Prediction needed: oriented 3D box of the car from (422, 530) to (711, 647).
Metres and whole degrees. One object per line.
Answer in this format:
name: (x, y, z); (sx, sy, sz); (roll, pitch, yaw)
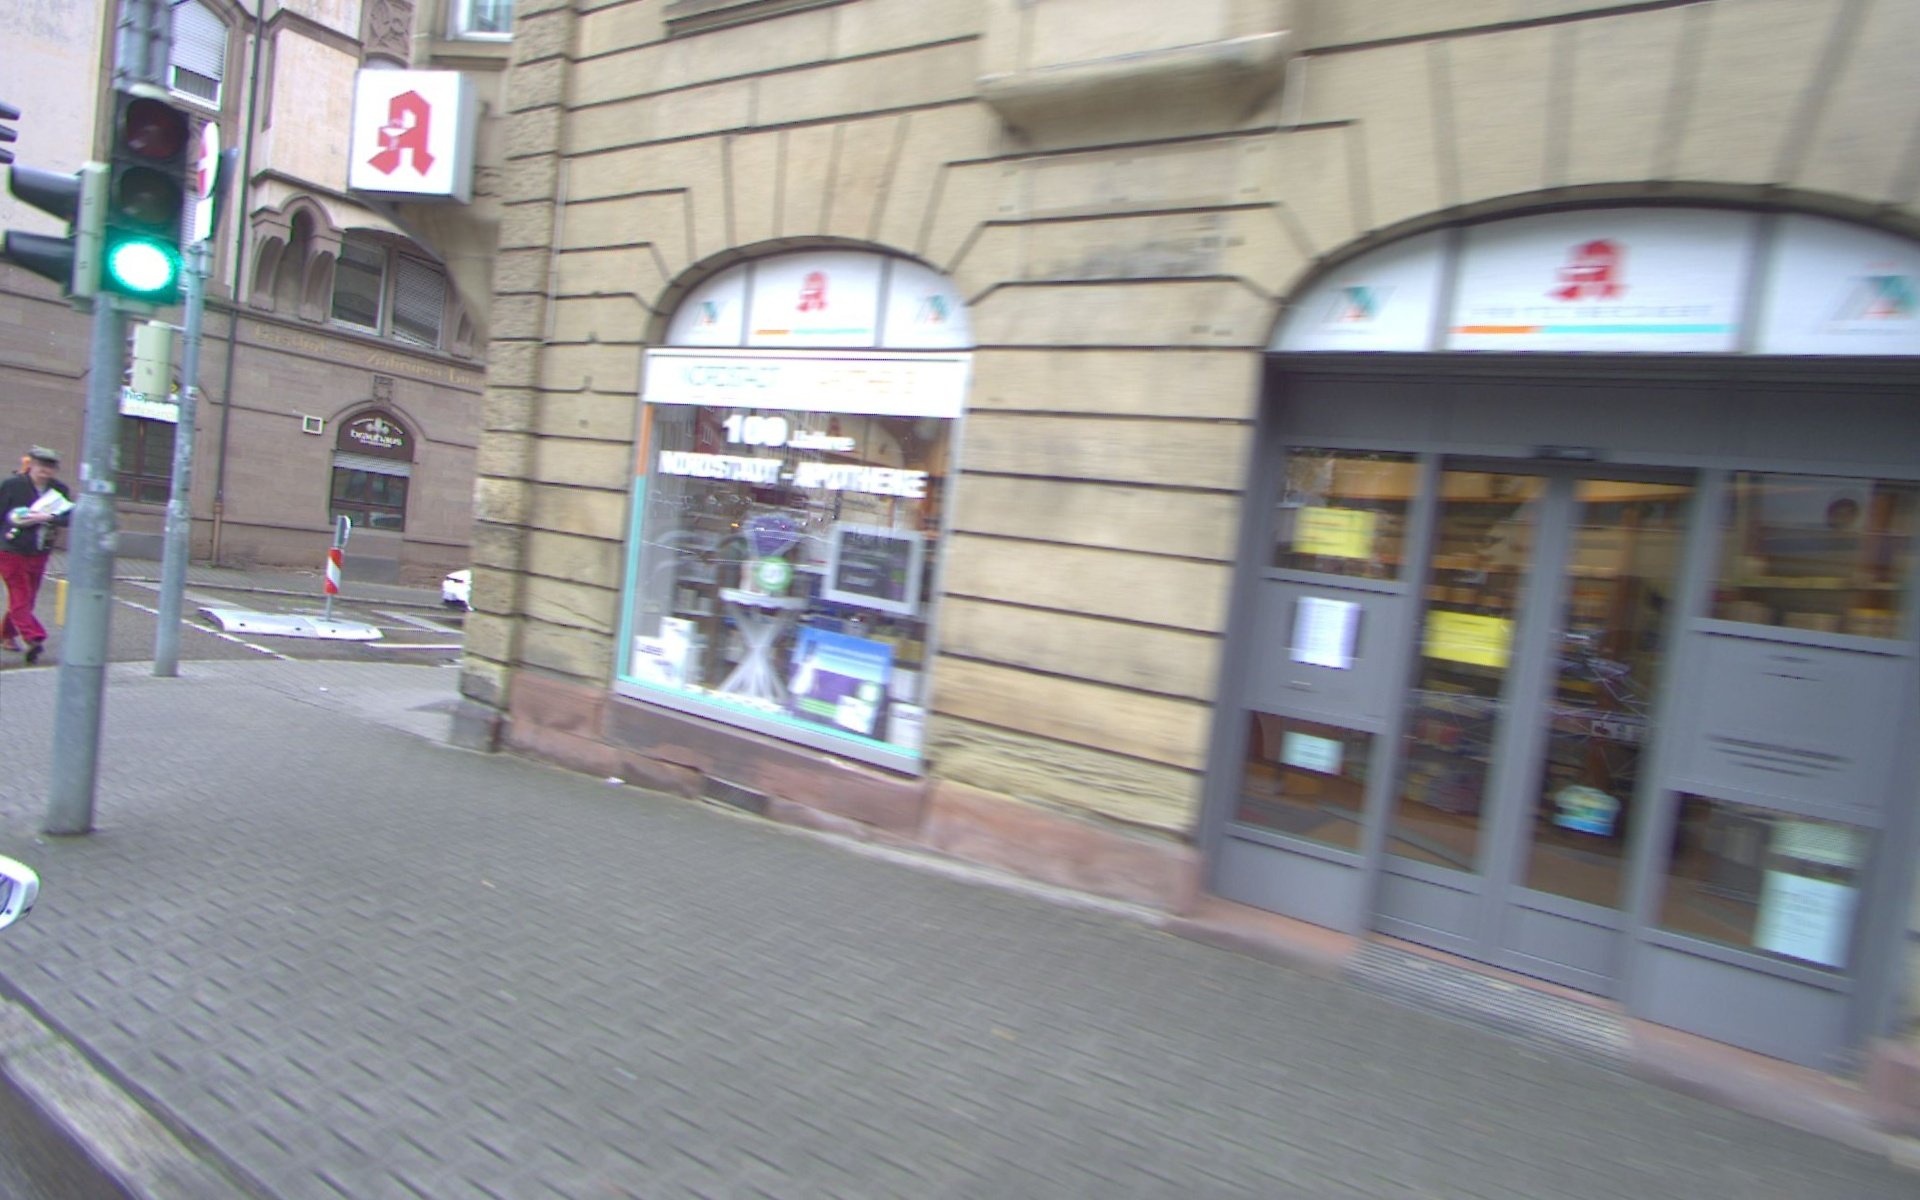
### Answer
car: (-7.160, -0.160, 18.671); (1.818, 1.528, 4.549); (7, -1, 45)

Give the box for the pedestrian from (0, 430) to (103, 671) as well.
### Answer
pedestrian: (-8.230, -0.451, 8.851); (1.074, 1.973, 0.697); (9, 2, 39)

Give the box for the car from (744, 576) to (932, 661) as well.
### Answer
car: (-2.739, 0.464, 23.285); (1.703, 1.443, 4.061); (7, -1, 42)
